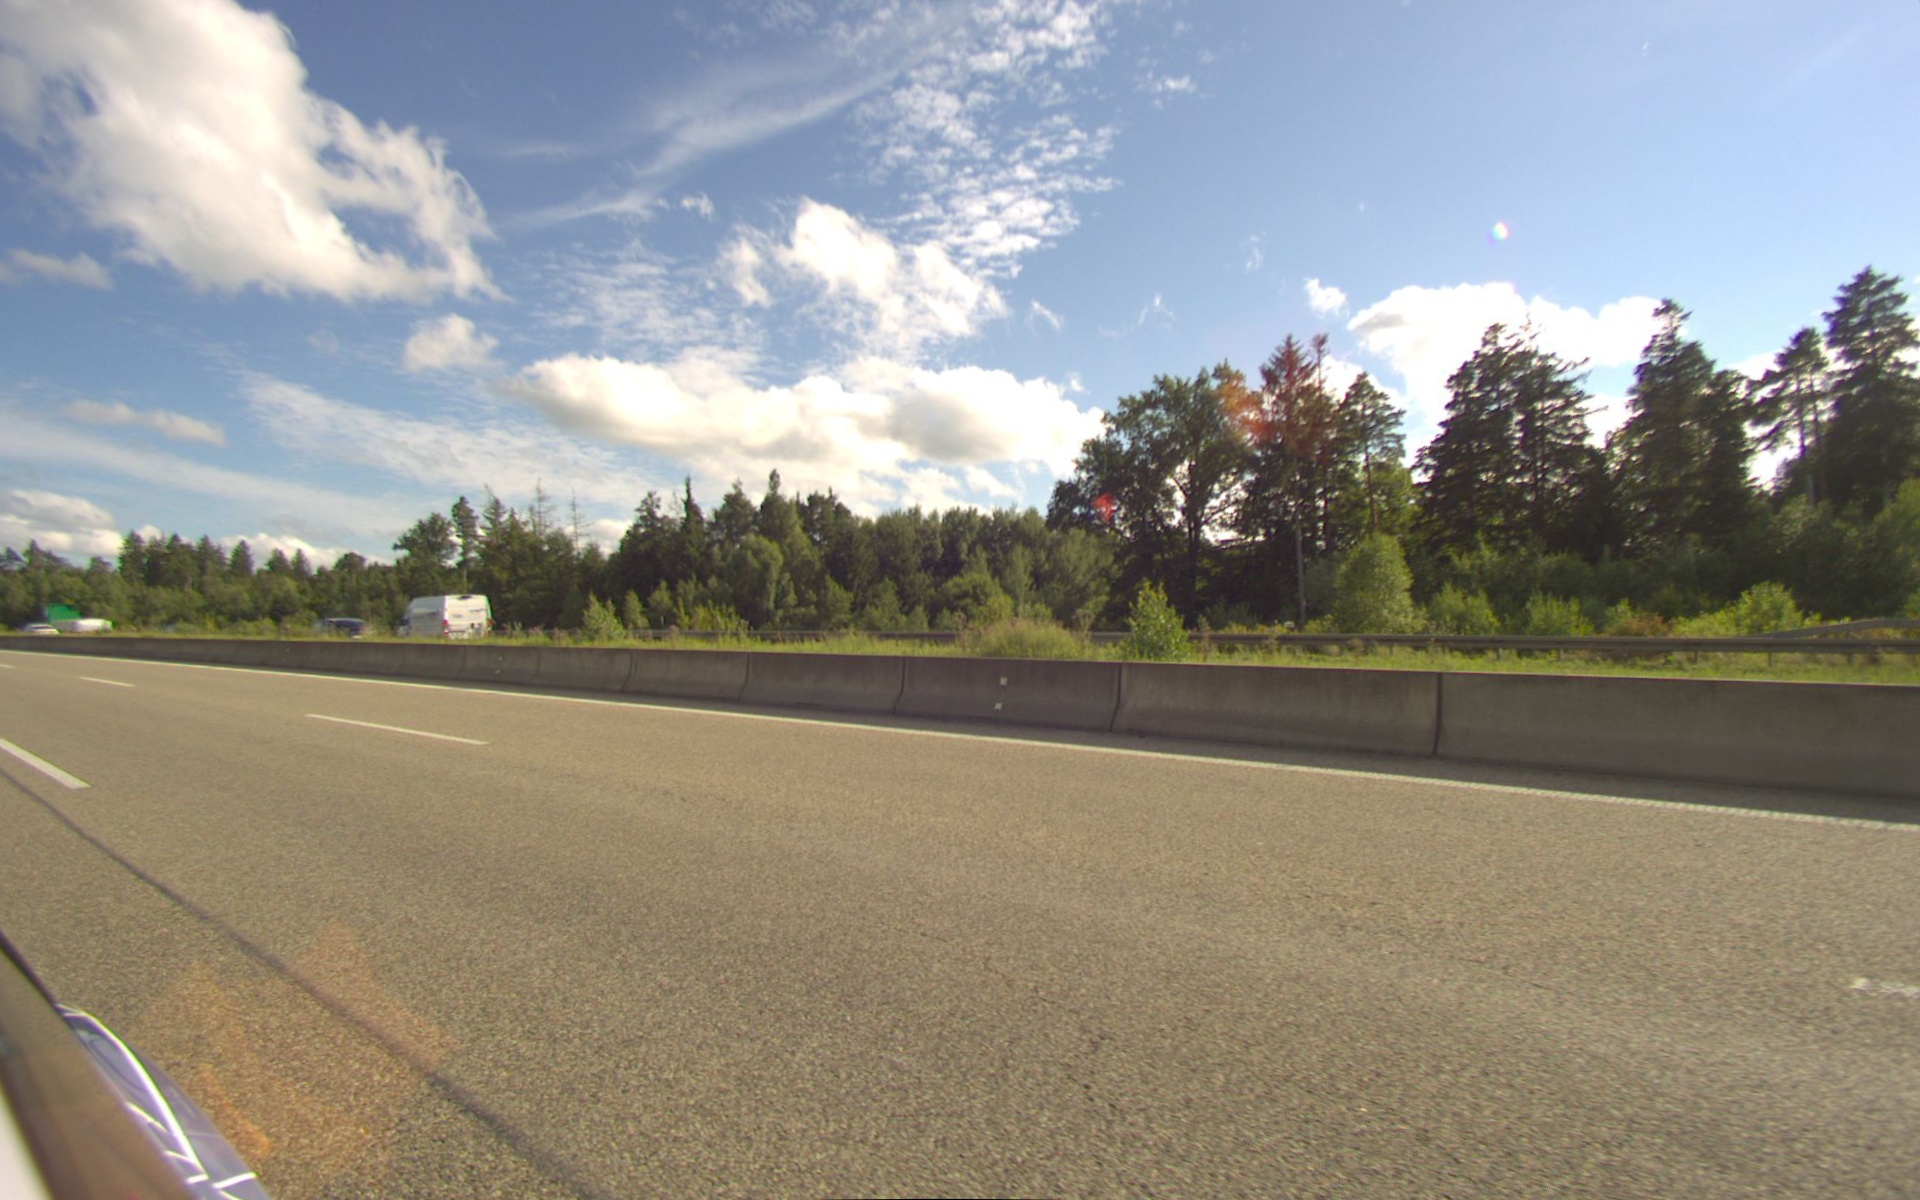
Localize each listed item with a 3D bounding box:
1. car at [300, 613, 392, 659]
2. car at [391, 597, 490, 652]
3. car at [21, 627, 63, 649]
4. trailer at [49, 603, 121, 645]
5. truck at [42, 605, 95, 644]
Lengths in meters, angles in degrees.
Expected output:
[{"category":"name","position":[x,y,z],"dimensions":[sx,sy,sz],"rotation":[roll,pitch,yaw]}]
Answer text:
[{"category":"car","position":[-25.312,1.454,41.672],"dimensions":[4.319,1.746,2.044],"rotation":[-2,-1,41]},{"category":"car","position":[-22.716,1.064,44.121],"dimensions":[5.201,2.261,2.044],"rotation":[-2,-1,41]},{"category":"car","position":[-73.314,3.031,80.809],"dimensions":[4.460,1.621,1.906],"rotation":[-2,-1,40]},{"category":"trailer","position":[-89.212,2.469,103.047],"dimensions":[13.626,4.039,3.342],"rotation":[-2,-1,39]},{"category":"truck","position":[-94.996,2.635,107.818],"dimensions":[5.857,4.039,3.342],"rotation":[-2,-1,39]}]
